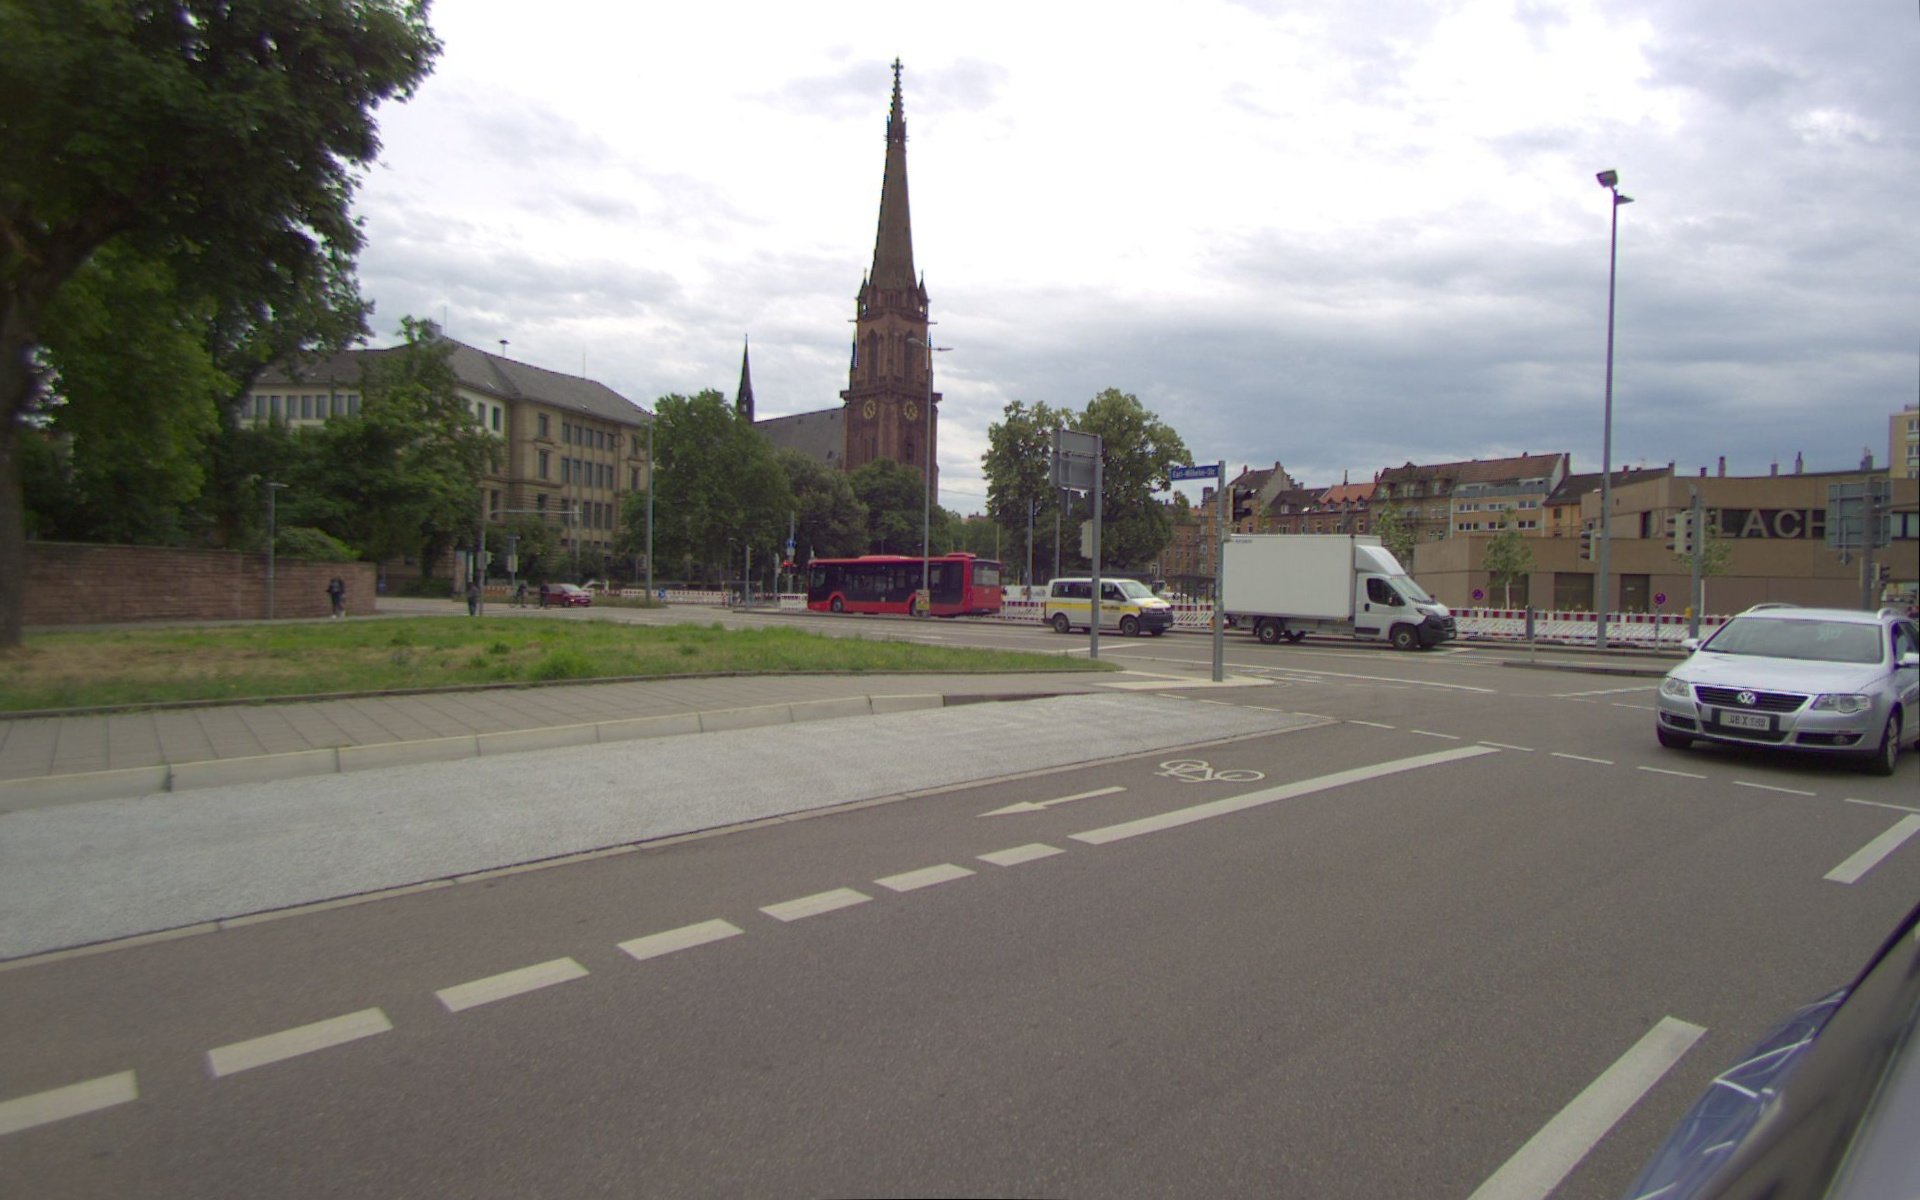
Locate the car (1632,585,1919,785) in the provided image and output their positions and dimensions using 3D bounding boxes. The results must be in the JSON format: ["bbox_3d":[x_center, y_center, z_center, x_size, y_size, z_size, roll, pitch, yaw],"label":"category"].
[{"bbox_3d":[8.759,0.690,10.341,4.444,1.570,1.830,0,2,-38],"label":"car"}]

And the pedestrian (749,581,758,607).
[{"bbox_3d":[-13.964,-0.411,68.444,0.366,1.726,0.373,1,2,-44],"label":"pedestrian"}]

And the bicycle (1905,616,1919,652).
[{"bbox_3d":[31.511,1.117,32.973,1.833,1.143,0.694,1,2,-37],"label":"bicycle"}]

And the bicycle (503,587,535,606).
[{"bbox_3d":[-27.493,-0.245,63.087,2.206,1.051,0.783,4,2,34],"label":"bicycle"}]

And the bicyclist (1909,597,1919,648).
[{"bbox_3d":[31.522,0.743,32.957,0.867,1.655,0.694,1,2,-36],"label":"bicyclist"}]

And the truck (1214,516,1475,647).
[{"bbox_3d":[11.208,-0.577,29.965,6.828,3.453,2.523,1,2,42],"label":"truck"}]

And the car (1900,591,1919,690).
[{"bbox_3d":[18.314,0.703,17.691,4.406,1.644,1.913,0,2,-36],"label":"car"}]

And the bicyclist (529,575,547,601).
[{"bbox_3d":[-25.538,-0.747,61.230,0.776,1.540,0.595,3,2,32],"label":"bicyclist"}]

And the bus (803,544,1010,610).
[{"bbox_3d":[-2.978,-1.141,50.735,12.056,2.944,2.891,1,1,44],"label":"bus"}]

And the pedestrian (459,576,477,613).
[{"bbox_3d":[-22.546,-0.259,46.371,0.678,1.659,0.874,1,0,-29],"label":"pedestrian"}]

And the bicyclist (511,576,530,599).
[{"bbox_3d":[-27.389,-0.762,63.016,0.736,1.374,0.783,3,2,33],"label":"bicyclist"}]

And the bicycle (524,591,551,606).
[{"bbox_3d":[-25.582,-0.107,61.251,1.807,0.830,0.595,3,2,32],"label":"bicycle"}]

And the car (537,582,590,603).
[{"bbox_3d":[-25.154,-0.493,64.122,3.514,1.170,1.429,4,2,35],"label":"car"}]

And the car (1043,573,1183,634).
[{"bbox_3d":[5.272,0.051,35.461,1.889,1.943,4.703,-1,2,-44],"label":"car"}]

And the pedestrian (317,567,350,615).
[{"bbox_3d":[-23.597,-0.346,38.130,0.742,1.757,0.824,2,1,-9],"label":"pedestrian"}]
